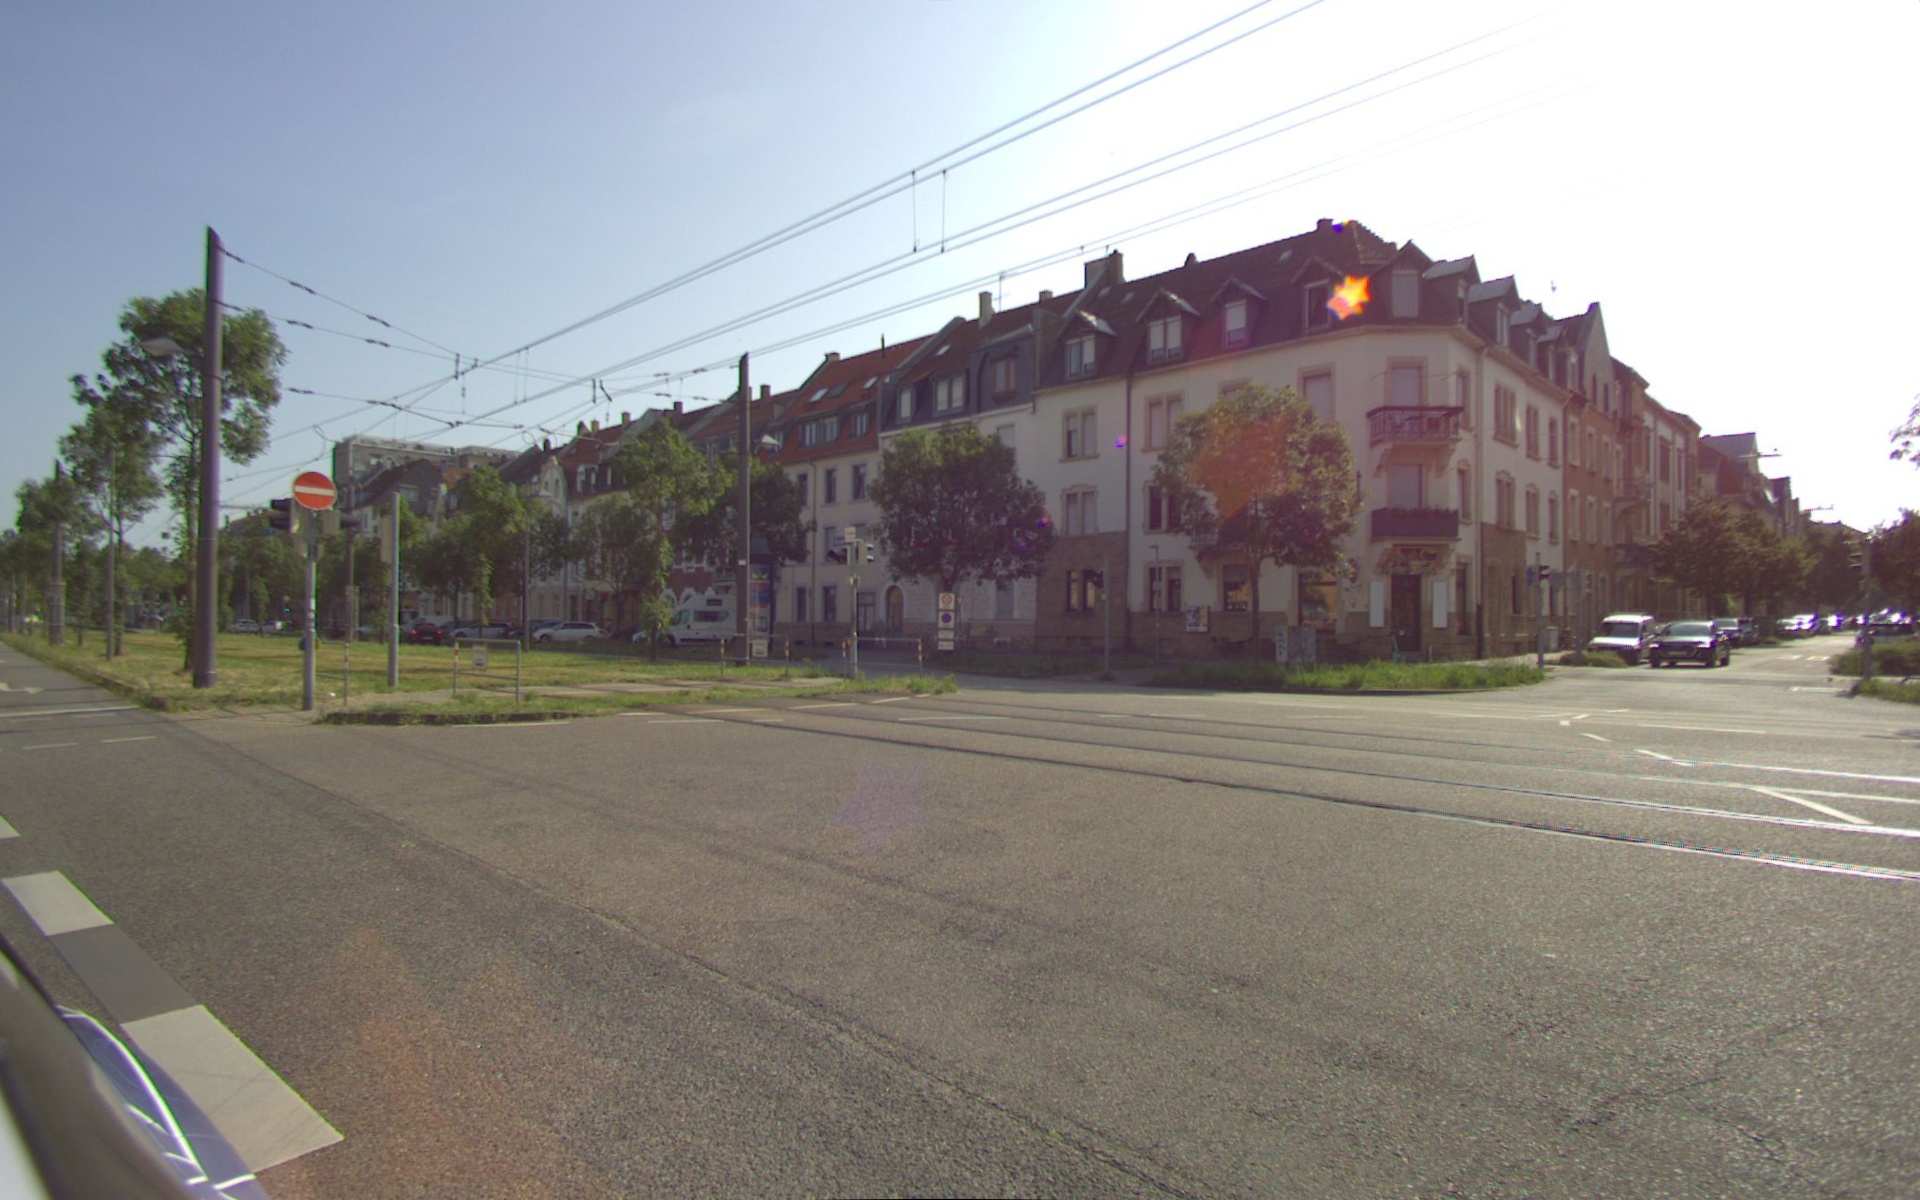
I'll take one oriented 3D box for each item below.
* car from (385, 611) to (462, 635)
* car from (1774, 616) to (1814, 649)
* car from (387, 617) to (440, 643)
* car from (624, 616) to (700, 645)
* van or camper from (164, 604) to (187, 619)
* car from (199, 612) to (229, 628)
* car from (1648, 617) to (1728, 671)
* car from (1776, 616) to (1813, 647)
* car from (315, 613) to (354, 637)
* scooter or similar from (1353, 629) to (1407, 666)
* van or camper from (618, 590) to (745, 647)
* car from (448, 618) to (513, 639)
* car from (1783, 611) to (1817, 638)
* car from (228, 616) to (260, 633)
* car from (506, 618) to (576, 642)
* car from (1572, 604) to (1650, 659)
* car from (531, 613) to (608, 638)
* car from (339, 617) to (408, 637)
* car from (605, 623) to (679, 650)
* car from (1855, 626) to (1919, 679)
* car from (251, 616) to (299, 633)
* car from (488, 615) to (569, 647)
[{"bbox_3d":[-41.133,1.752,77.745,4.871,1.739,1.861,-1,1,-11],"label":"car"},{"bbox_3d":[56.338,2.167,68.414,1.998,2.029,3.948,-1,1,39],"label":"car"},{"bbox_3d":[-33.740,1.819,62.455,3.927,1.444,1.792,0,1,44],"label":"car"},{"bbox_3d":[-15.397,1.556,52.396,3.627,1.341,1.666,-1,1,-11],"label":"car"},{"bbox_3d":[-114.452,1.684,147.555,5.355,2.112,1.930,0,1,44],"label":"van or camper"},{"bbox_3d":[-82.203,2.205,111.474,1.970,1.642,5.384,-2,1,-44],"label":"car"},{"bbox_3d":[25.489,1.494,35.380,1.834,1.633,3.944,0,1,42],"label":"car"},{"bbox_3d":[61.174,2.271,74.231,1.997,2.029,3.949,-1,1,38],"label":"car"},{"bbox_3d":[-46.707,1.867,75.541,1.743,1.668,4.005,-2,1,-42],"label":"car"},{"bbox_3d":[12.815,1.450,30.878,1.479,1.077,0.736,-1,1,24],"label":"scooter or similar"},{"bbox_3d":[-13.597,0.874,49.715,5.829,2.593,2.204,-1,1,-11],"label":"van or camper"},{"bbox_3d":[-32.212,1.933,68.033,3.627,1.251,1.666,-1,1,-11],"label":"car"},{"bbox_3d":[69.020,2.015,83.163,1.997,2.029,3.949,-1,1,38],"label":"car"},{"bbox_3d":[-70.618,2.398,99.772,1.924,1.470,4.653,-2,1,-43],"label":"car"},{"bbox_3d":[-25.134,1.798,60.794,3.627,1.251,1.666,-1,1,-11],"label":"car"},{"bbox_3d":[24.580,1.142,38.154,1.834,1.863,3.944,0,1,42],"label":"car"},{"bbox_3d":[-22.685,1.474,58.903,3.949,1.326,1.666,-1,1,-11],"label":"car"},{"bbox_3d":[-50.234,2.302,86.758,4.698,1.496,2.028,-1,1,-13],"label":"car"},{"bbox_3d":[-17.045,1.942,54.365,3.626,1.251,1.666,-1,1,-11],"label":"car"},{"bbox_3d":[30.334,1.675,33.091,1.570,1.472,3.361,0,1,42],"label":"car"},{"bbox_3d":[-76.541,2.690,113.078,3.935,1.739,2.005,-1,1,-11],"label":"car"},{"bbox_3d":[-26.970,1.916,63.453,4.568,1.756,1.840,-1,1,-21],"label":"car"}]
